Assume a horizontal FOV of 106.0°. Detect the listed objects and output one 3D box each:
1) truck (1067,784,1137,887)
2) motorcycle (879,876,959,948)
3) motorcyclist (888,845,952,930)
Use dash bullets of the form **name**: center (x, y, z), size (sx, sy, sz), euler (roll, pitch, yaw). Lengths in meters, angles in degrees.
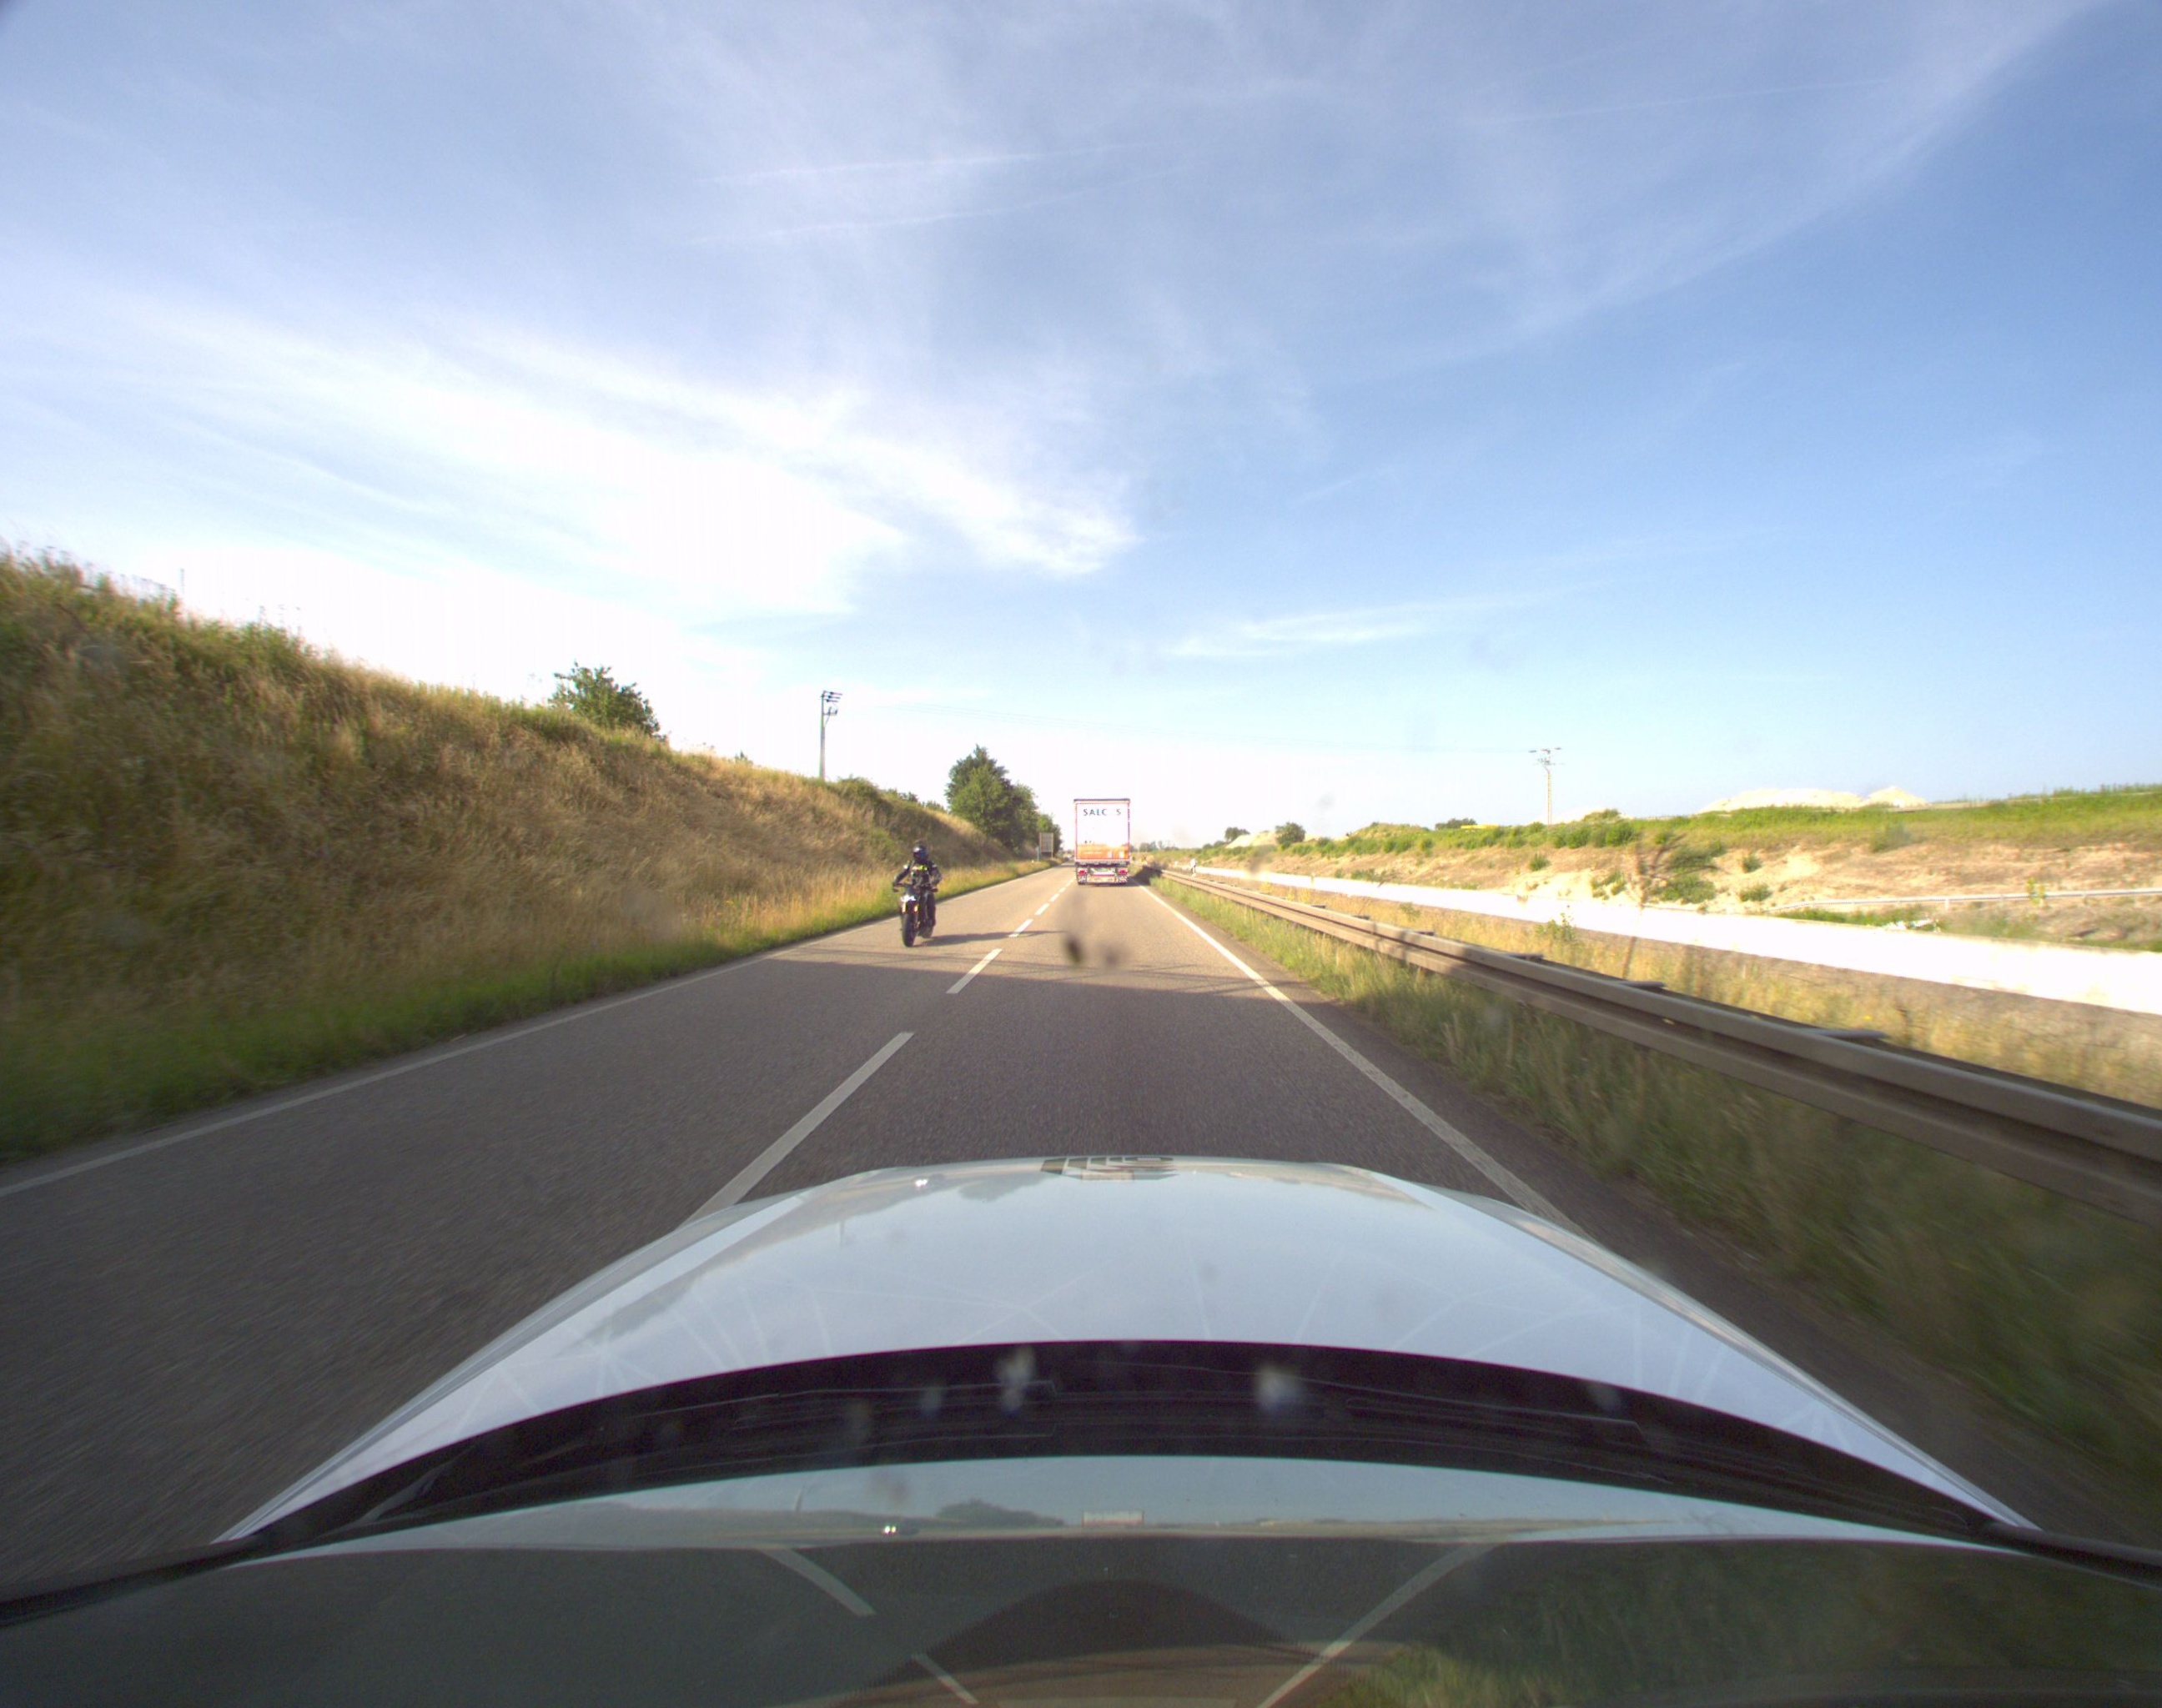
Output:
- **truck**: center (0.958, -0.826, 41.445), size (3.143, 4.688, 8.439), euler (-1, 0, 0)
- **motorcycle**: center (-2.865, 0.992, 14.668), size (1.038, 1.117, 2.131), euler (-1, 0, -2)
- **motorcyclist**: center (-2.893, 0.574, 14.743), size (0.876, 1.451, 1.283), euler (-1, 0, 0)
